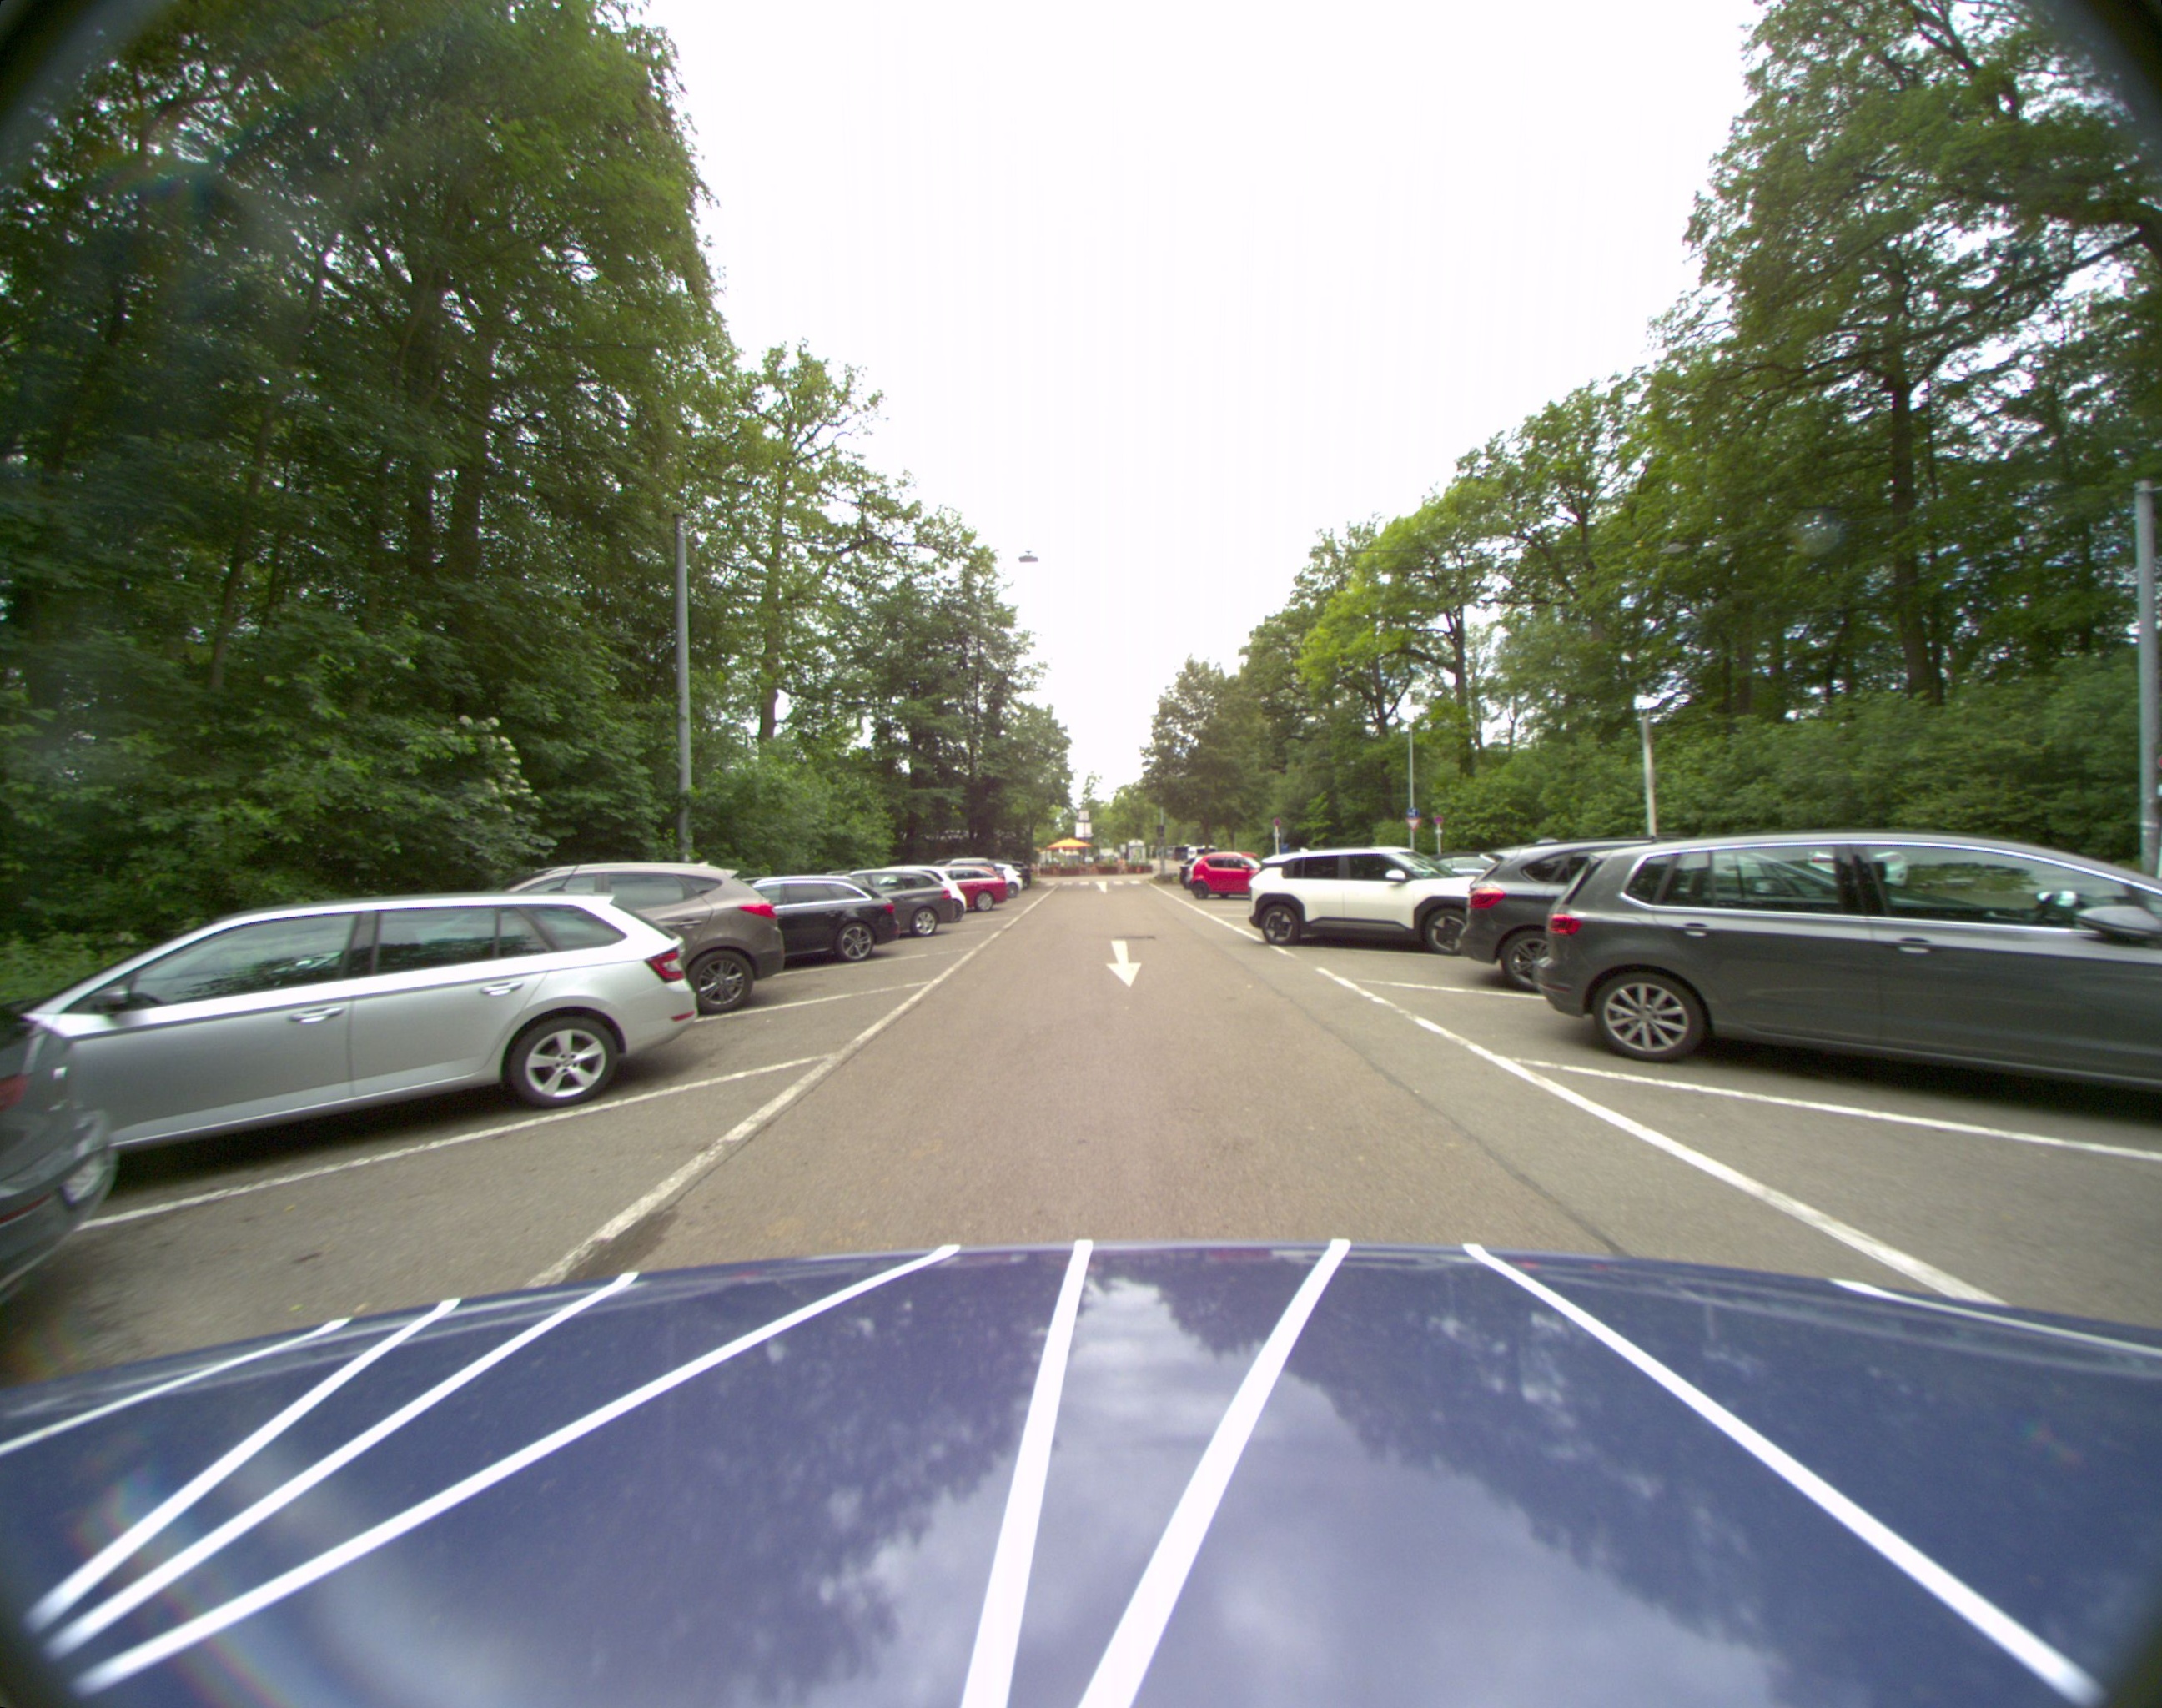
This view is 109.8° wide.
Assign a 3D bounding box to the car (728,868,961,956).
[{"bbox_3d":[-4.759,1.091,15.696,4.195,1.449,1.800,-1,0,-43],"label":"car"}]

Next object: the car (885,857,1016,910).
[{"bbox_3d":[-4.557,0.995,26.839,4.127,1.608,1.837,-2,0,-40],"label":"car"}]

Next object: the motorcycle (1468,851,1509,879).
[{"bbox_3d":[18.680,0.472,34.810,2.033,1.201,0.729,-2,1,-33],"label":"motorcycle"}]

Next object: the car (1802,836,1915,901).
[{"bbox_3d":[20.079,0.325,19.604,4.008,1.501,1.864,-1,0,-43],"label":"car"}]

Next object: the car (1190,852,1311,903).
[{"bbox_3d":[5.709,0.783,25.879,3.644,1.576,1.690,-2,0,43],"label":"car"}]

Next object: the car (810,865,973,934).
[{"bbox_3d":[-4.741,1.081,19.276,3.589,1.496,1.730,-1,0,-41],"label":"car"}]

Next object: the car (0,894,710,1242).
[{"bbox_3d":[-4.845,1.103,4.964,4.008,1.458,1.830,-1,-1,-39],"label":"car"}]

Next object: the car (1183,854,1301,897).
[{"bbox_3d":[6.086,0.785,28.964,3.989,1.475,1.880,-1,1,44],"label":"car"}]

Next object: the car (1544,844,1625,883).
[{"bbox_3d":[19.874,0.334,29.919,4.008,1.368,1.735,-2,1,-43],"label":"car"}]

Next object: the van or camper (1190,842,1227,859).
[{"bbox_3d":[22.735,-0.654,135.661,7.354,2.833,2.063,-2,1,-38],"label":"van or camper"}]

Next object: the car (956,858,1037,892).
[{"bbox_3d":[-4.213,1.024,38.183,3.799,1.483,1.695,-2,0,-44],"label":"car"}]

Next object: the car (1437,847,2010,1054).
[{"bbox_3d":[6.016,0.763,7.696,3.989,1.545,1.877,-2,0,40],"label":"car"}]

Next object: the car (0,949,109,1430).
[{"bbox_3d":[-5.226,1.155,1.373,4.008,1.414,1.905,-2,0,-44],"label":"car"}]

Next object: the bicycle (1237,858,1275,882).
[{"bbox_3d":[8.728,0.794,37.989,1.787,1.105,0.483,-2,1,5],"label":"bicycle"}]

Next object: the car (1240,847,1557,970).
[{"bbox_3d":[4.831,0.746,11.955,4.178,1.587,1.850,-2,0,44],"label":"car"}]

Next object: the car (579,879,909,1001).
[{"bbox_3d":[-5.104,1.171,11.917,1.960,1.369,4.271,-1,0,45],"label":"car"}]

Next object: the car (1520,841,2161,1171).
[{"bbox_3d":[5.319,0.746,4.849,1.851,1.577,3.966,-1,-1,-44],"label":"car"}]

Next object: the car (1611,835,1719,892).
[{"bbox_3d":[19.673,0.276,25.508,4.718,1.756,2.106,-1,0,-43],"label":"car"}]

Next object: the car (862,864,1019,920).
[{"bbox_3d":[-4.251,1.100,23.369,4.304,1.405,1.923,-2,0,-39],"label":"car"}]

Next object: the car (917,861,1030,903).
[{"bbox_3d":[-4.284,1.084,30.656,4.127,1.430,1.865,-2,0,-40],"label":"car"}]

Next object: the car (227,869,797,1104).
[{"bbox_3d":[-5.474,1.040,7.863,4.271,1.627,1.960,-2,0,-43],"label":"car"}]

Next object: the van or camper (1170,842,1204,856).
[{"bbox_3d":[22.218,-1.106,159.410,7.352,2.833,2.198,-2,1,-34],"label":"van or camper"}]

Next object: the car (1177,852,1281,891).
[{"bbox_3d":[6.309,0.728,32.627,1.834,1.514,4.089,-2,1,-41],"label":"car"}]

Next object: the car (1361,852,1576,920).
[{"bbox_3d":[9.377,0.736,18.590,4.304,1.433,1.873,-2,0,43],"label":"car"}]

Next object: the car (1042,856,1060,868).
[{"bbox_3d":[-4.862,1.257,122.160,1.878,1.769,4.290,-2,0,-15],"label":"car"}]
